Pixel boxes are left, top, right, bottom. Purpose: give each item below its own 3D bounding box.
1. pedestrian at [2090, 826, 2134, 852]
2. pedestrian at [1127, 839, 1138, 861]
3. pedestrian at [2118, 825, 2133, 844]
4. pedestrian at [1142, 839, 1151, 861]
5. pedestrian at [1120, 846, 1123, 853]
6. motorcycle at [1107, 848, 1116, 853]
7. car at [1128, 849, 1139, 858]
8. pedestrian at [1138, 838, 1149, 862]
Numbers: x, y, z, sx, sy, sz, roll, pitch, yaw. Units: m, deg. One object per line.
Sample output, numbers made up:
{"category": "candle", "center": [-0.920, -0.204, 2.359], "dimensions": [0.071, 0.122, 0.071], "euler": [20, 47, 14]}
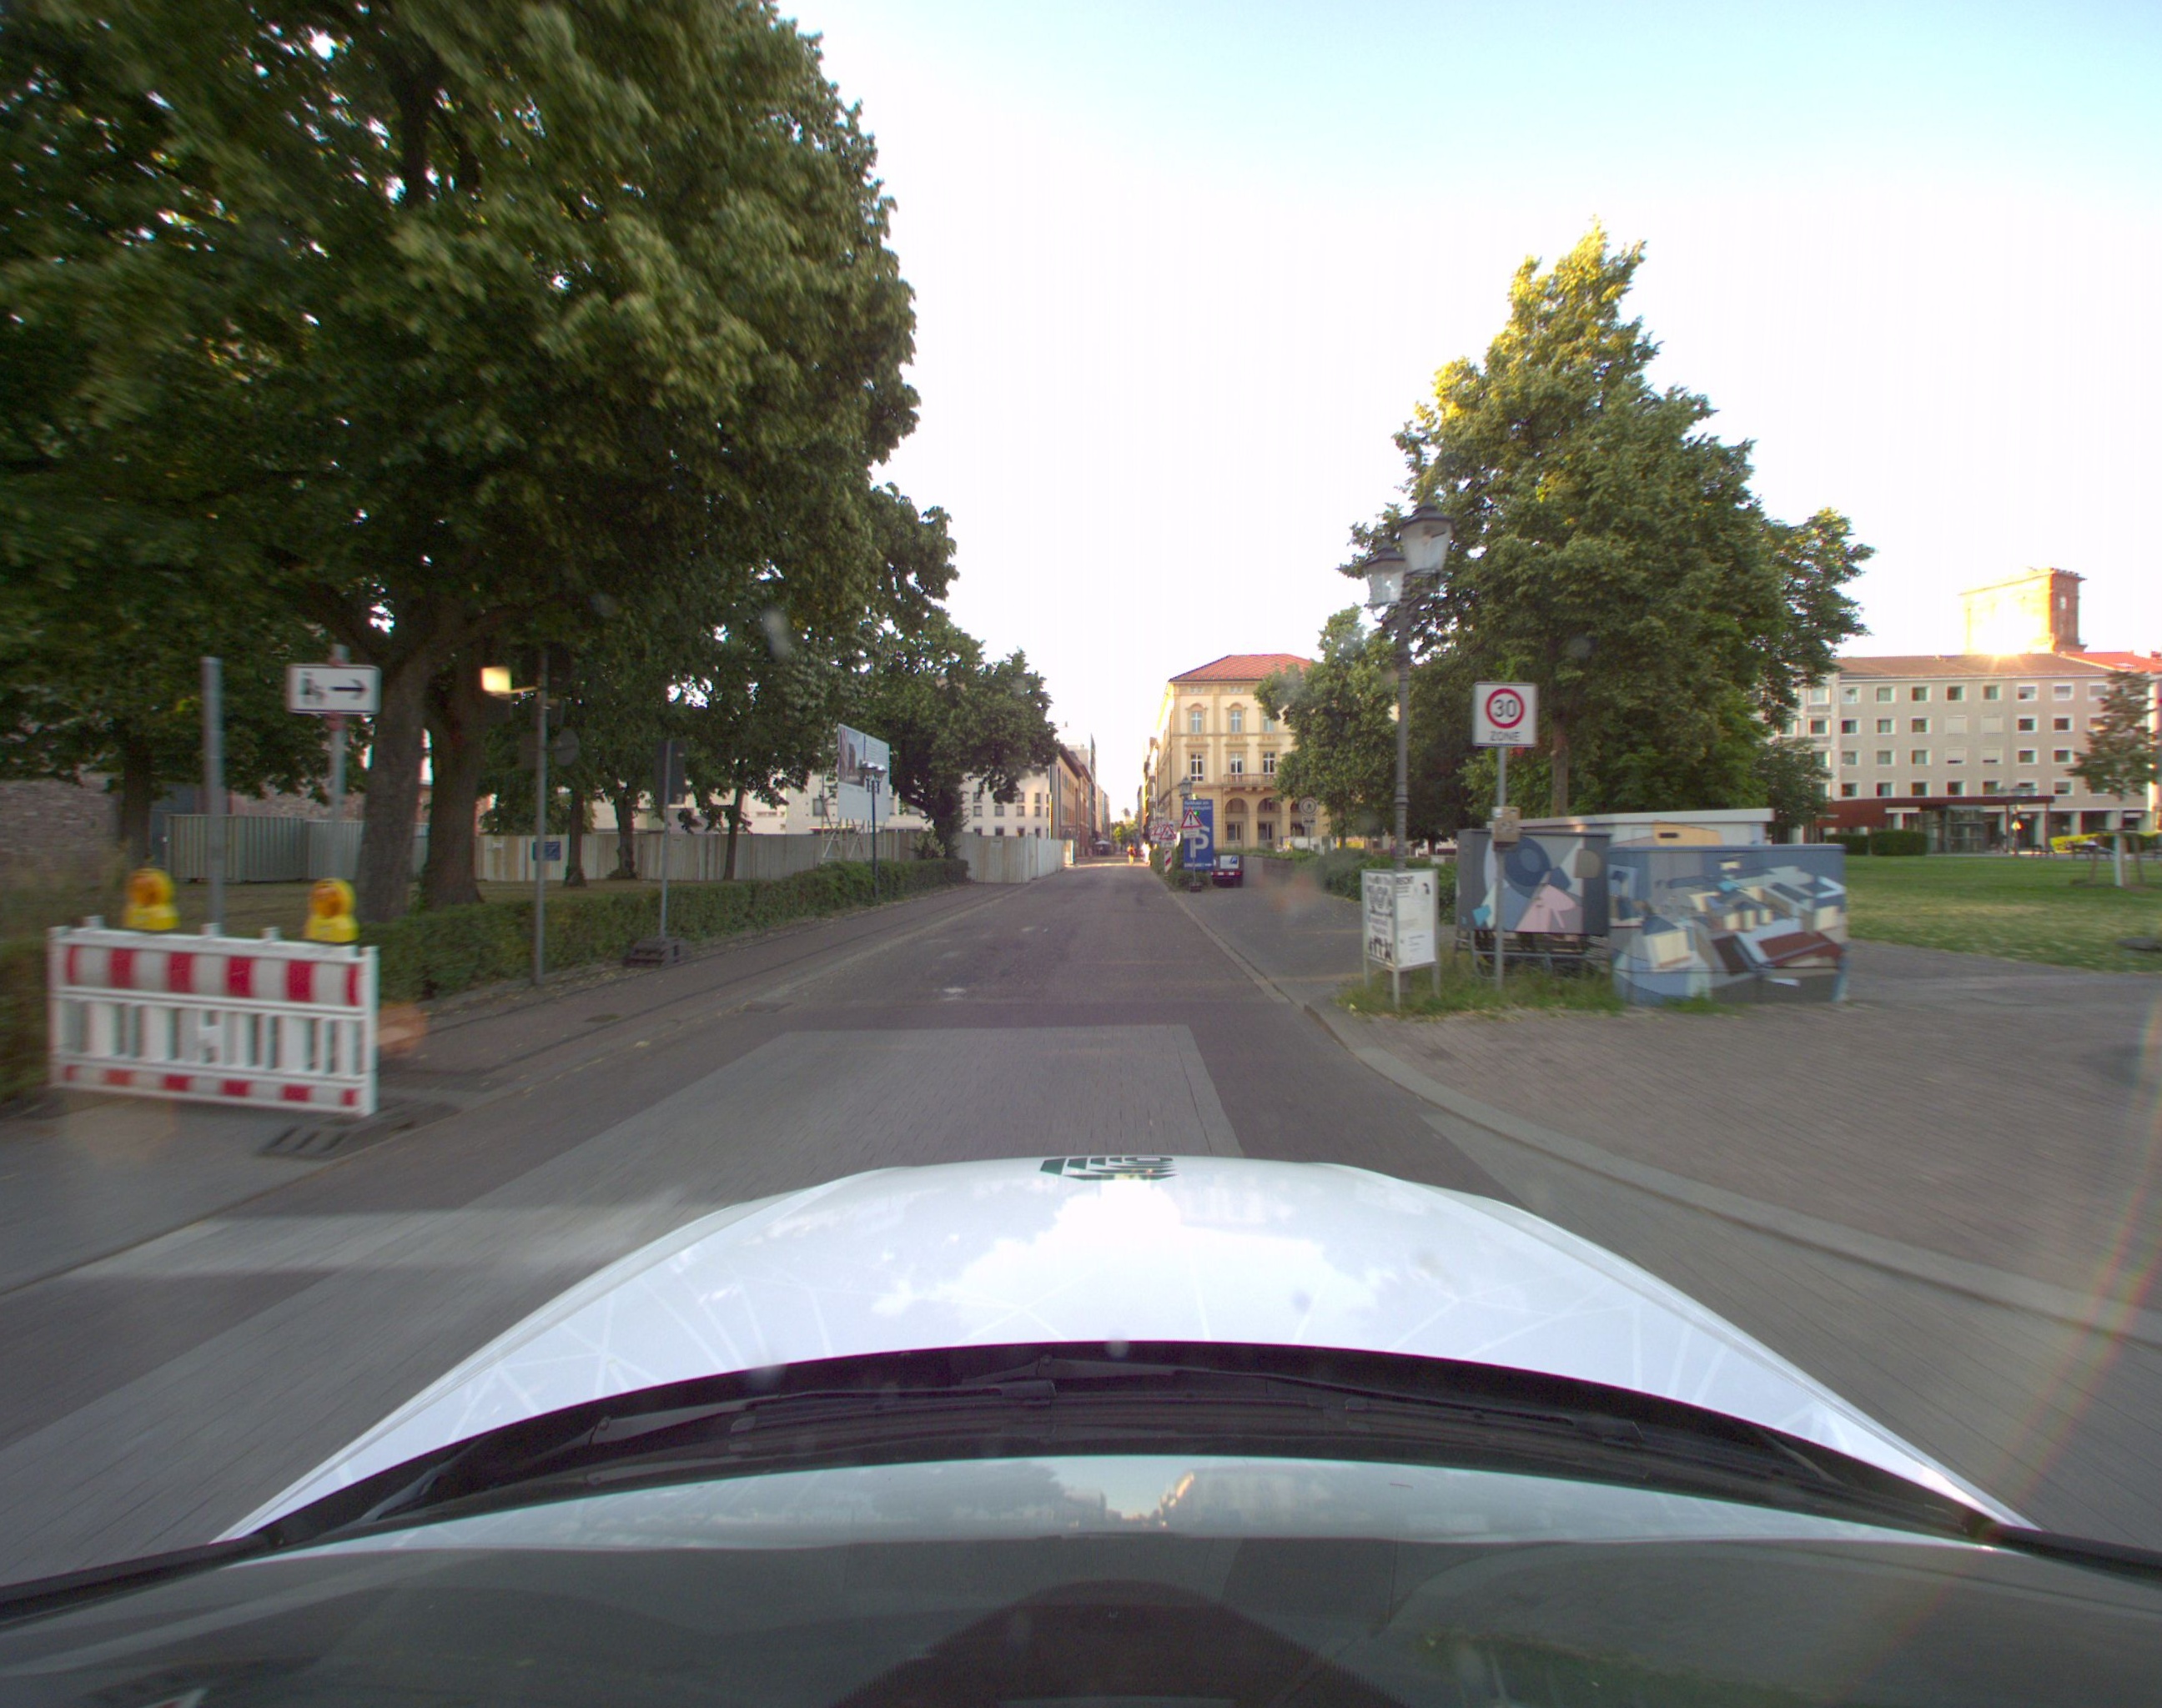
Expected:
{"category": "pedestrian", "center": [51.542, -0.770, 40.718], "dimensions": [1.056, 1.292, 0.848], "euler": [0, 2, 21]}
{"category": "pedestrian", "center": [4.245, -0.324, 67.169], "dimensions": [0.773, 1.746, 0.875], "euler": [-1, 0, 2]}
{"category": "pedestrian", "center": [73.419, -1.364, 57.244], "dimensions": [1.038, 1.367, 0.644], "euler": [-1, 1, -38]}
{"category": "pedestrian", "center": [5.317, -0.324, 65.780], "dimensions": [0.634, 1.803, 0.772], "euler": [-1, 0, 2]}
{"category": "pedestrian", "center": [9.083, -1.051, 182.510], "dimensions": [0.801, 1.672, 0.889], "euler": [-1, 0, 5]}
{"category": "motorcycle", "center": [6.372, -0.754, 170.615], "dimensions": [1.796, 0.875, 0.560], "euler": [-1, 0, -2]}
{"category": "car", "center": [8.460, -0.116, 130.619], "dimensions": [1.642, 1.427, 3.539], "euler": [2, 1, 4]}
{"category": "pedestrian", "center": [5.173, -0.335, 67.152], "dimensions": [0.809, 1.875, 0.875], "euler": [-1, 0, 2]}
